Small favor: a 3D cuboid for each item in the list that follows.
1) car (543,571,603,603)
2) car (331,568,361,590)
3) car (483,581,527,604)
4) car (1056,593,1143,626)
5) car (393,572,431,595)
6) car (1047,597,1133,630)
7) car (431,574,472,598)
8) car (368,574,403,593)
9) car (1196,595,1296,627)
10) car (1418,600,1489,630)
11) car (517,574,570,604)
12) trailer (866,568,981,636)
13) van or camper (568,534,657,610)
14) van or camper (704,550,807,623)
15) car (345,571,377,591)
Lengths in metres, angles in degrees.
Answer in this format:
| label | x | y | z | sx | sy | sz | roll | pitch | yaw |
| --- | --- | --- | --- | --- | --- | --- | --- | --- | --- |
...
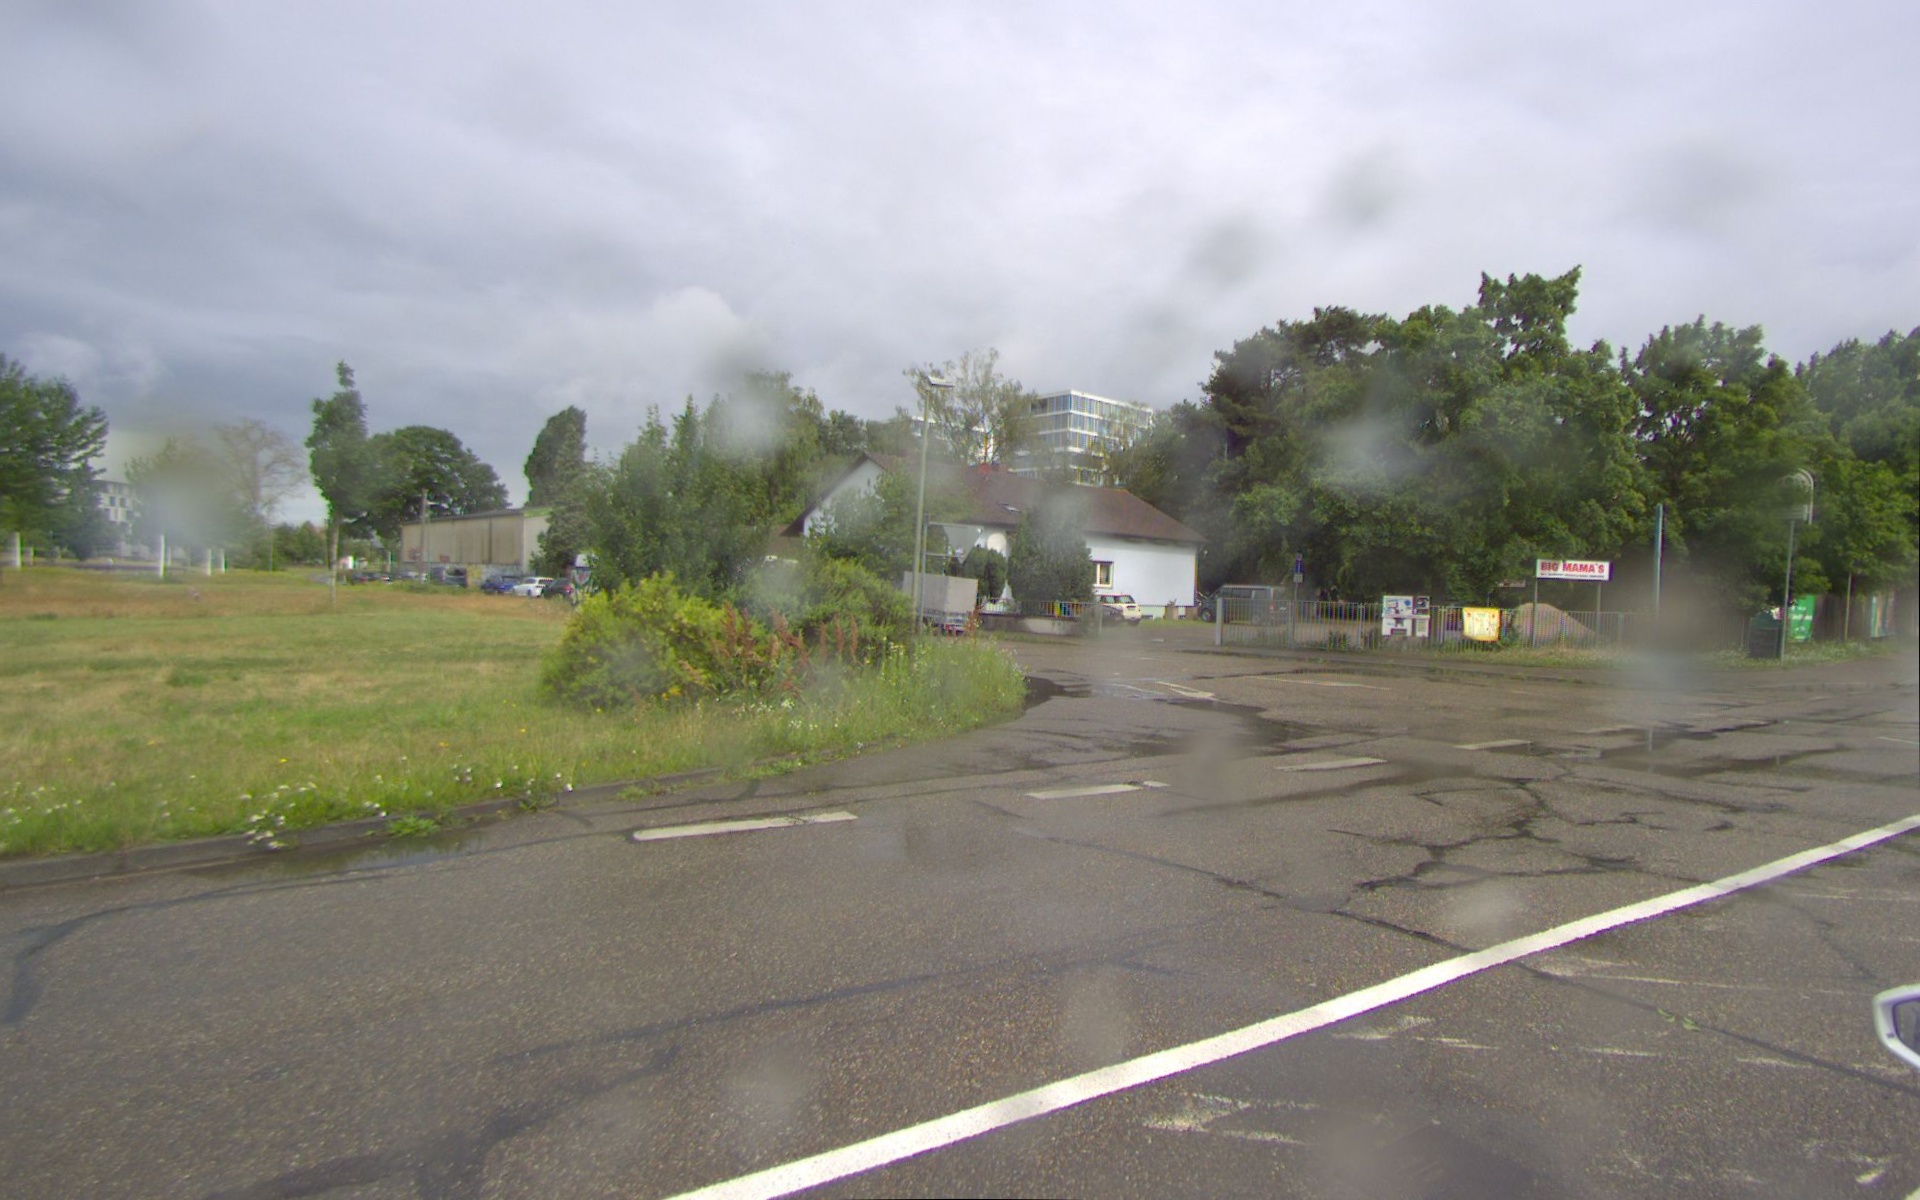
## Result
| label | x | y | z | sx | sy | sz | roll | pitch | yaw |
| --- | --- | --- | --- | --- | --- | --- | --- | --- | --- |
| car | -22.409 | -0.757 | 58.073 | 1.985 | 1.706 | 3.950 | 1 | 1 | -42 |
| car | -61.794 | -2.138 | 101.131 | 1.984 | 2.040 | 3.952 | 1 | 1 | -40 |
| car | -30.235 | -0.504 | 66.654 | 1.632 | 1.417 | 3.952 | 1 | 1 | -40 |
| car | 6.110 | 0.401 | 44.359 | 1.377 | 1.333 | 3.878 | 1 | 1 | -39 |
| car | -45.627 | -1.366 | 83.608 | 1.984 | 1.751 | 3.952 | 1 | 1 | -40 |
| car | 5.429 | 0.543 | 42.127 | 1.651 | 1.224 | 3.345 | 1 | 1 | -39 |
| car | -38.299 | -1.043 | 75.637 | 1.639 | 1.662 | 3.947 | 1 | 1 | -44 |
| car | -51.086 | -1.444 | 89.308 | 1.984 | 1.573 | 3.952 | 1 | 1 | -40 |
| car | 14.235 | 0.526 | 50.184 | 1.984 | 1.437 | 4.491 | 1 | 0 | -39 |
| car | 26.322 | 0.813 | 53.485 | 4.513 | 1.437 | 1.974 | 2 | 0 | -44 |
| car | -25.853 | -0.696 | 62.276 | 1.866 | 1.726 | 3.952 | 1 | 1 | -40 |
| trailer | -1.342 | 0.037 | 35.527 | 1.831 | 2.117 | 4.062 | 1 | 3 | -42 |
| van or camper | -18.721 | -1.484 | 53.912 | 2.632 | 3.794 | 5.783 | 1 | 1 | -40 |
| van or camper | -8.832 | -0.596 | 43.173 | 2.463 | 2.985 | 4.463 | 1 | 1 | -40 |
| car | -56.523 | -1.803 | 94.703 | 1.984 | 1.729 | 3.952 | 1 | 1 | -40 |
